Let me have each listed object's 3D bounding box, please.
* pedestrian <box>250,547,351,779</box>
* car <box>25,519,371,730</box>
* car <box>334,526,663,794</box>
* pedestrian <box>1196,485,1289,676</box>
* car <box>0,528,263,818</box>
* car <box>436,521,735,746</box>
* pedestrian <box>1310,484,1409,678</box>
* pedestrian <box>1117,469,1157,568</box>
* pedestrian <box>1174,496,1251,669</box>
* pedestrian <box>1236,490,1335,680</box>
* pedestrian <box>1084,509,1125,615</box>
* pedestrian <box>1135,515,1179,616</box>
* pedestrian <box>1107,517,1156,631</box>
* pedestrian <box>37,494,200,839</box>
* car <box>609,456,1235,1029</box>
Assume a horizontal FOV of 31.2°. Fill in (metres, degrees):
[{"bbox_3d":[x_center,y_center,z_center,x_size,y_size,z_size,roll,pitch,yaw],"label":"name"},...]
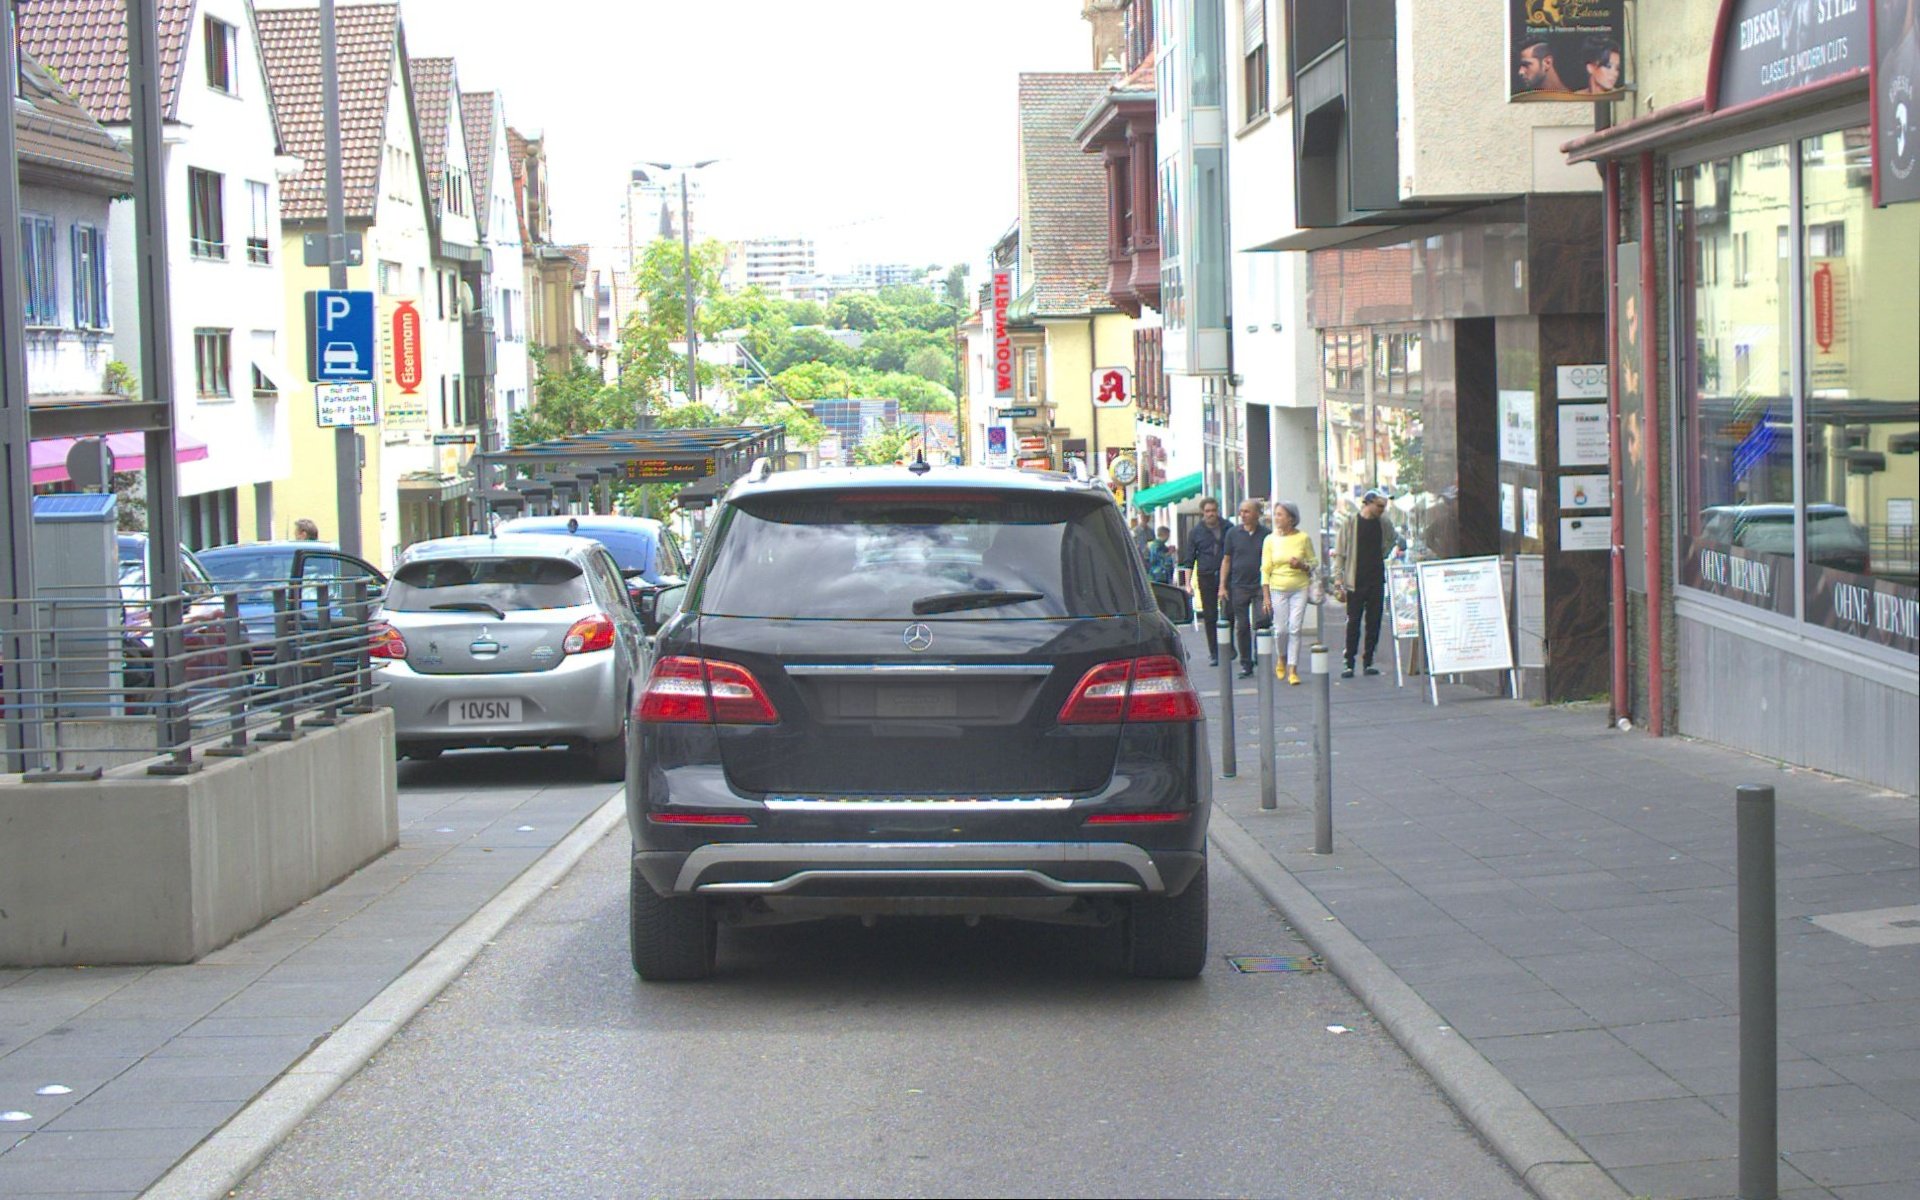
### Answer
[{"bbox_3d":[-4.151,0.389,21.657,0.466,1.427,0.492,-3,1,-1],"label":"pedestrian"},{"bbox_3d":[-5.886,0.132,26.997,1.739,1.470,3.884,1,2,2],"label":"car"},{"bbox_3d":[-2.810,0.315,21.602,1.620,1.527,3.671,0,1,-1],"label":"car"},{"bbox_3d":[2.659,-0.186,32.425,0.711,1.747,0.785,-3,1,-1],"label":"pedestrian"},{"bbox_3d":[-5.398,0.347,20.375,1.739,1.537,4.193,0,1,-1],"label":"car"},{"bbox_3d":[-2.879,0.210,27.295,1.956,1.634,4.315,0,1,-1],"label":"car"},{"bbox_3d":[3.607,-0.175,31.064,0.662,1.683,0.543,-5,1,-7],"label":"pedestrian"},{"bbox_3d":[3.038,-1.391,59.055,0.573,1.683,0.566,1,1,-7],"label":"pedestrian"},{"bbox_3d":[2.597,-0.189,35.440,0.711,1.747,0.787,-1,2,-1],"label":"pedestrian"},{"bbox_3d":[2.872,-0.141,30.423,0.711,1.625,0.835,-3,1,-1],"label":"pedestrian"},{"bbox_3d":[2.379,-0.622,56.570,0.542,1.720,0.528,-2,1,-7],"label":"pedestrian"},{"bbox_3d":[3.324,-0.582,58.054,0.573,1.683,0.566,-3,1,-7],"label":"pedestrian"},{"bbox_3d":[2.551,-0.390,51.220,0.621,1.683,0.566,1,1,-7],"label":"pedestrian"},{"bbox_3d":[-4.157,0.308,17.030,0.533,1.666,0.901,0,2,2],"label":"pedestrian"},{"bbox_3d":[-0.201,0.406,12.529,1.900,1.741,4.001,1,1,-3],"label":"car"}]
